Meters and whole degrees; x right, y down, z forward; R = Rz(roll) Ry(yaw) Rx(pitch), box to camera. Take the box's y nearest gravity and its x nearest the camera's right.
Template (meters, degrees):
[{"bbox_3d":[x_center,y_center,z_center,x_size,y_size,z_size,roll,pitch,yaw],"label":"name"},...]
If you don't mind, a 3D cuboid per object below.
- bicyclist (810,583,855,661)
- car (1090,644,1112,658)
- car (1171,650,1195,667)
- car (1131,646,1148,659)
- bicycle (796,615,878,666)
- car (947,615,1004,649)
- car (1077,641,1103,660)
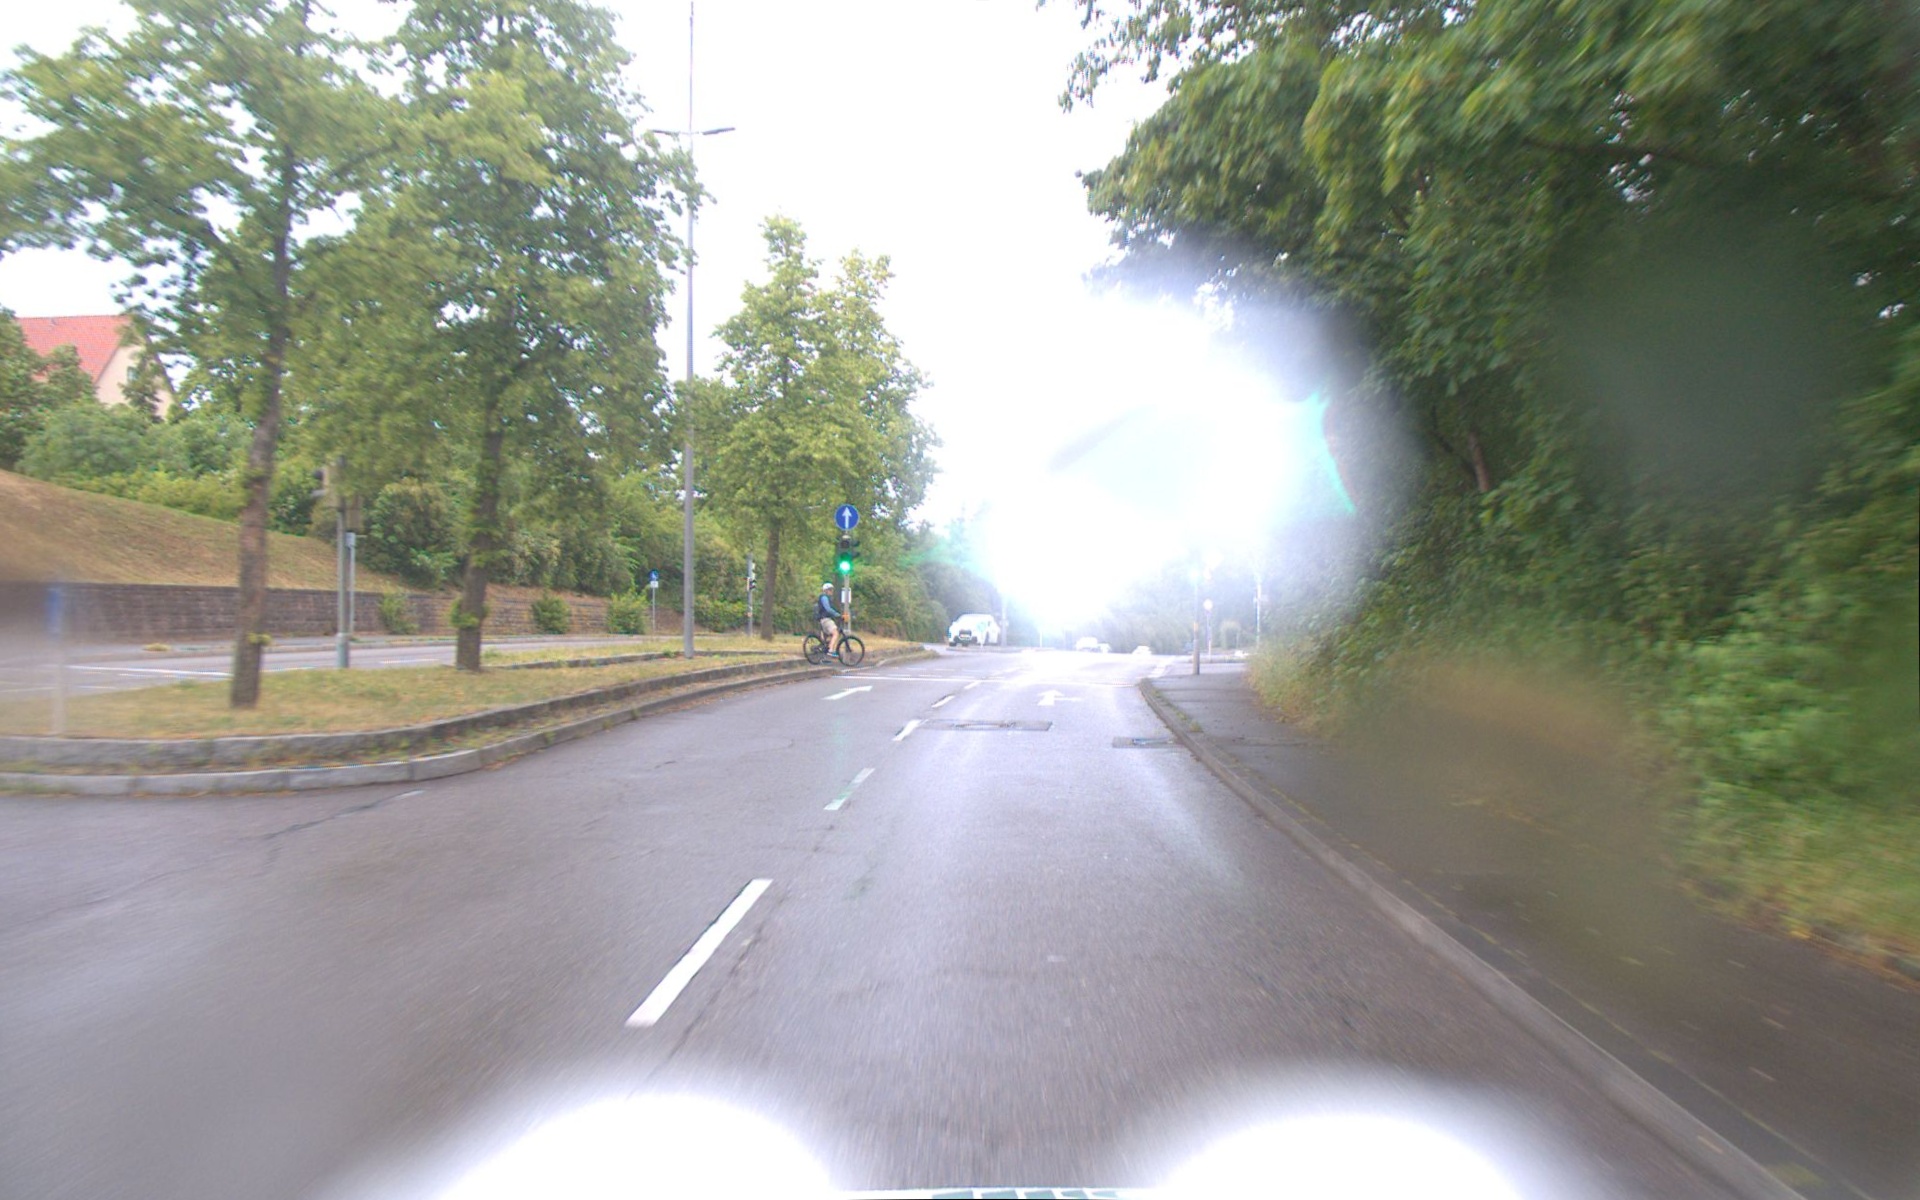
[{"bbox_3d":[-2.978,0.530,38.733,0.712,1.783,0.796,-3,-5,41],"label":"bicyclist"},{"bbox_3d":[15.018,5.420,175.540,1.781,1.463,4.457,1,-2,12],"label":"car"},{"bbox_3d":[22.940,5.980,169.875,1.904,1.619,3.930,1,-1,15],"label":"car"},{"bbox_3d":[22.042,6.427,203.253,1.687,1.619,4.003,1,-1,11],"label":"car"},{"bbox_3d":[-2.859,0.956,38.742,0.544,1.163,2.127,0,-1,41],"label":"bicycle"},{"bbox_3d":[0.841,1.666,84.986,1.903,1.664,5.008,1,-2,12],"label":"car"},{"bbox_3d":[11.116,4.315,141.067,1.740,1.498,4.648,1,-2,10],"label":"car"}]
